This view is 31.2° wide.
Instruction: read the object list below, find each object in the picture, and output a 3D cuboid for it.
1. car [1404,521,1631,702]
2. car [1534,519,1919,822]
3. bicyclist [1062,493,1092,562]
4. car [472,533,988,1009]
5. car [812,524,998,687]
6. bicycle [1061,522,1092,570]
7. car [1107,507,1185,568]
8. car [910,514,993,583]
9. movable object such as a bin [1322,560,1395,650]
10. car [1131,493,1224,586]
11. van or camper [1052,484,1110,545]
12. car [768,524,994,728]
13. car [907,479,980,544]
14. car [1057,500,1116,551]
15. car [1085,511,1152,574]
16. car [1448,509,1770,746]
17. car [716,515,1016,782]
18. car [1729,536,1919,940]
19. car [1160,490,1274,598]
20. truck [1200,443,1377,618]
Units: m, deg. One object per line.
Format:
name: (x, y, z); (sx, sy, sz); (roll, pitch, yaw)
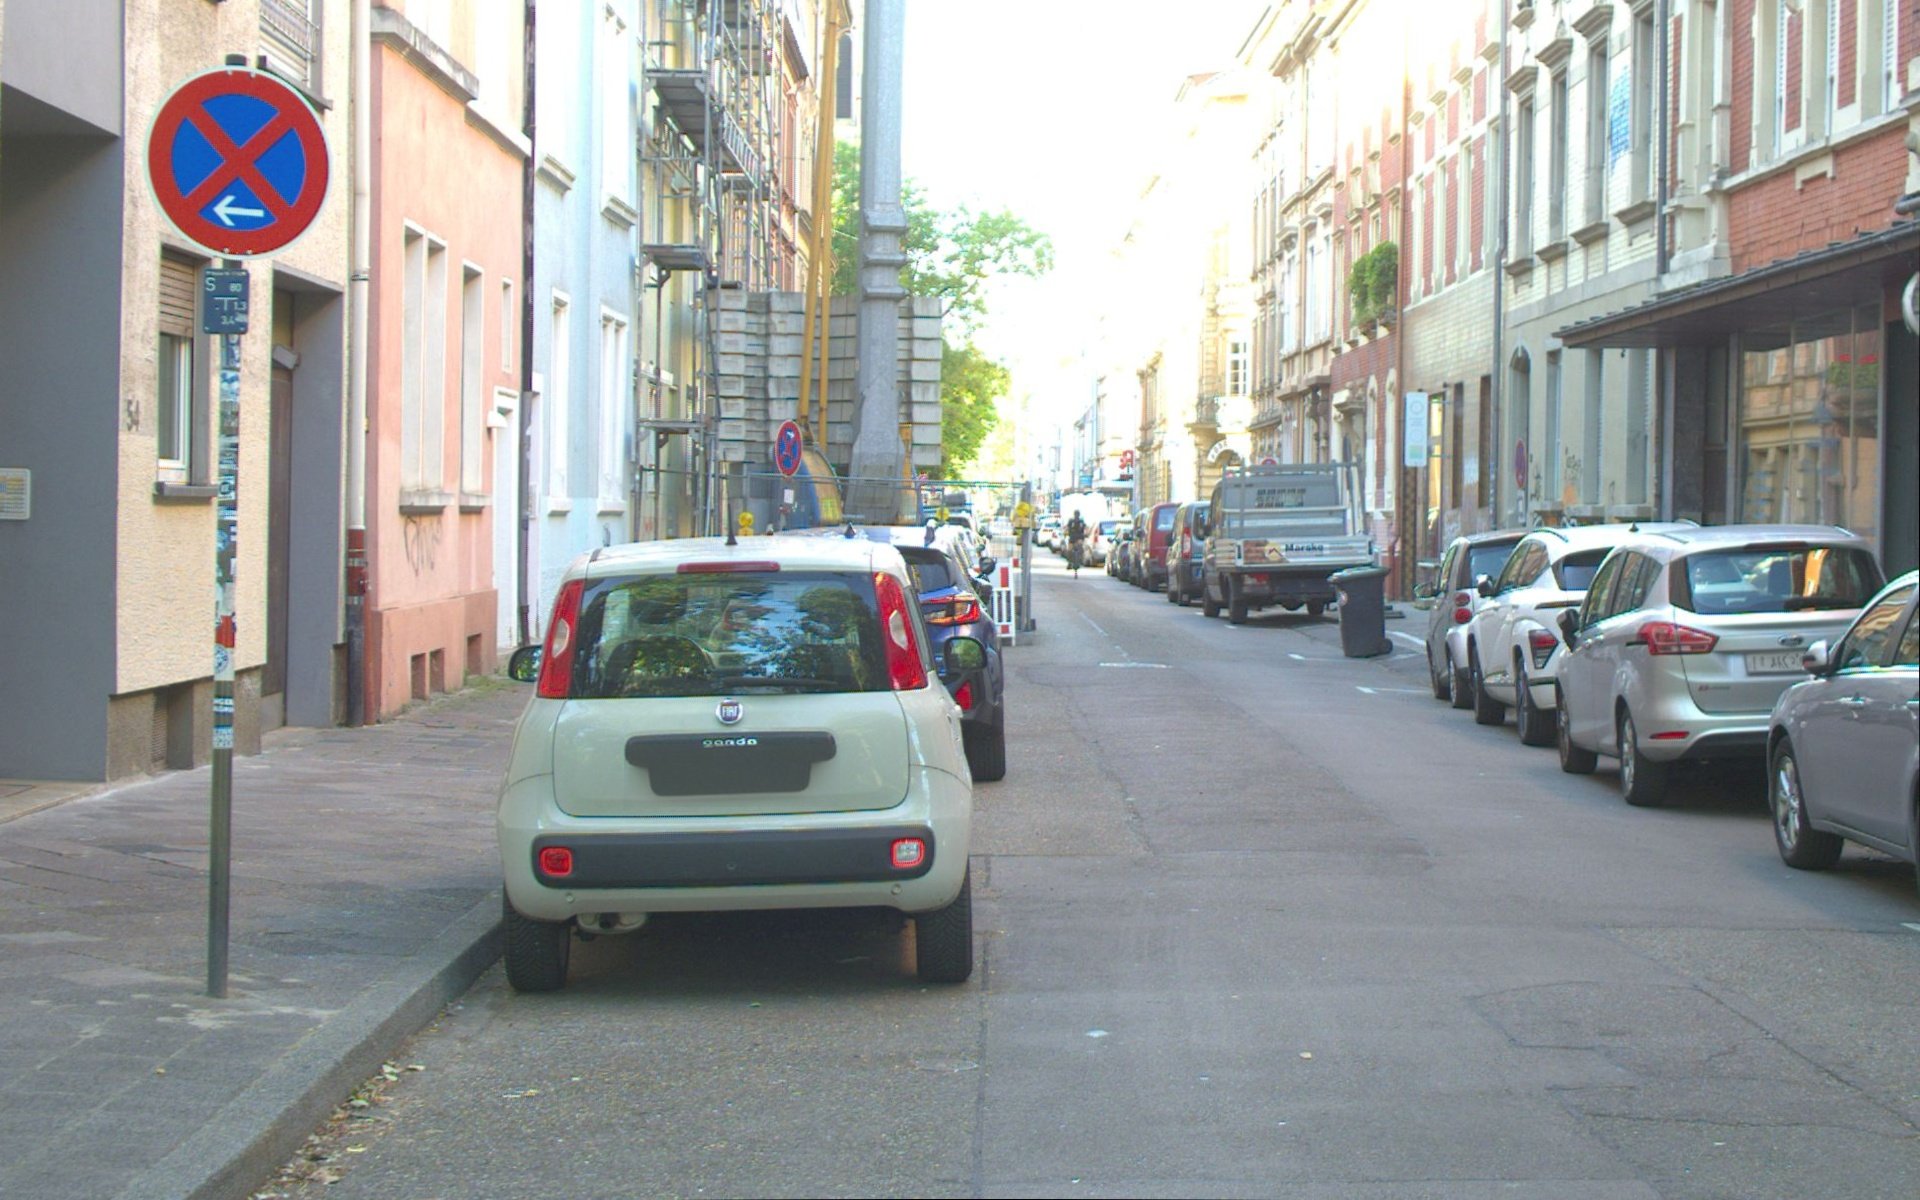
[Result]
car: (5.091, 0.056, 31.796); (1.597, 1.555, 3.814); (0, 1, 2)
car: (4.618, 0.348, 20.937); (1.640, 1.650, 3.869); (1, 1, 1)
bicyclist: (3.049, -1.896, 89.798); (0.730, 1.755, 0.835); (2, 2, 1)
car: (-0.813, 0.518, 13.141); (1.674, 1.534, 3.870); (0, 1, -2)
car: (-0.496, -0.002, 33.548); (1.675, 1.472, 4.608); (0, 1, 0)
bicycle: (3.036, -1.413, 89.781); (0.724, 1.182, 2.043); (2, 2, 1)
car: (4.864, -1.646, 90.293); (1.674, 1.565, 3.870); (0, 1, -2)
car: (-0.208, -1.138, 74.848); (1.674, 1.440, 3.870); (0, 1, -2)
movable object such as a bin: (4.819, 0.058, 41.570); (0.795, 1.052, 0.660); (1, 1, 0)
car: (4.834, -1.365, 76.808); (1.674, 2.024, 3.870); (0, 1, -2)
van or camper: (5.046, -3.576, 143.324); (1.993, 2.499, 4.203); (0, 1, -4)
car: (-0.586, 0.147, 27.821); (1.675, 1.506, 4.415); (0, 1, 0)
car: (-0.432, -2.199, 85.291); (1.674, 1.565, 3.870); (0, 1, -2)
car: (4.724, -2.801, 128.678); (1.993, 1.842, 4.000); (0, 2, -1)
car: (5.264, -1.936, 114.729); (1.993, 2.006, 4.001); (0, 2, -1)
car: (4.929, 0.145, 26.648); (1.746, 1.670, 4.341); (0, 1, 1)
car: (-0.619, 0.231, 22.142); (1.729, 1.534, 4.378); (-1, 1, -2)
car: (4.678, 0.547, 14.802); (1.721, 1.556, 4.399); (1, 2, 0)
car: (4.766, -1.061, 64.316); (1.674, 1.956, 4.109); (0, 1, -2)
truck: (5.074, -1.104, 53.804); (2.190, 2.598, 5.235); (0, 2, -1)
